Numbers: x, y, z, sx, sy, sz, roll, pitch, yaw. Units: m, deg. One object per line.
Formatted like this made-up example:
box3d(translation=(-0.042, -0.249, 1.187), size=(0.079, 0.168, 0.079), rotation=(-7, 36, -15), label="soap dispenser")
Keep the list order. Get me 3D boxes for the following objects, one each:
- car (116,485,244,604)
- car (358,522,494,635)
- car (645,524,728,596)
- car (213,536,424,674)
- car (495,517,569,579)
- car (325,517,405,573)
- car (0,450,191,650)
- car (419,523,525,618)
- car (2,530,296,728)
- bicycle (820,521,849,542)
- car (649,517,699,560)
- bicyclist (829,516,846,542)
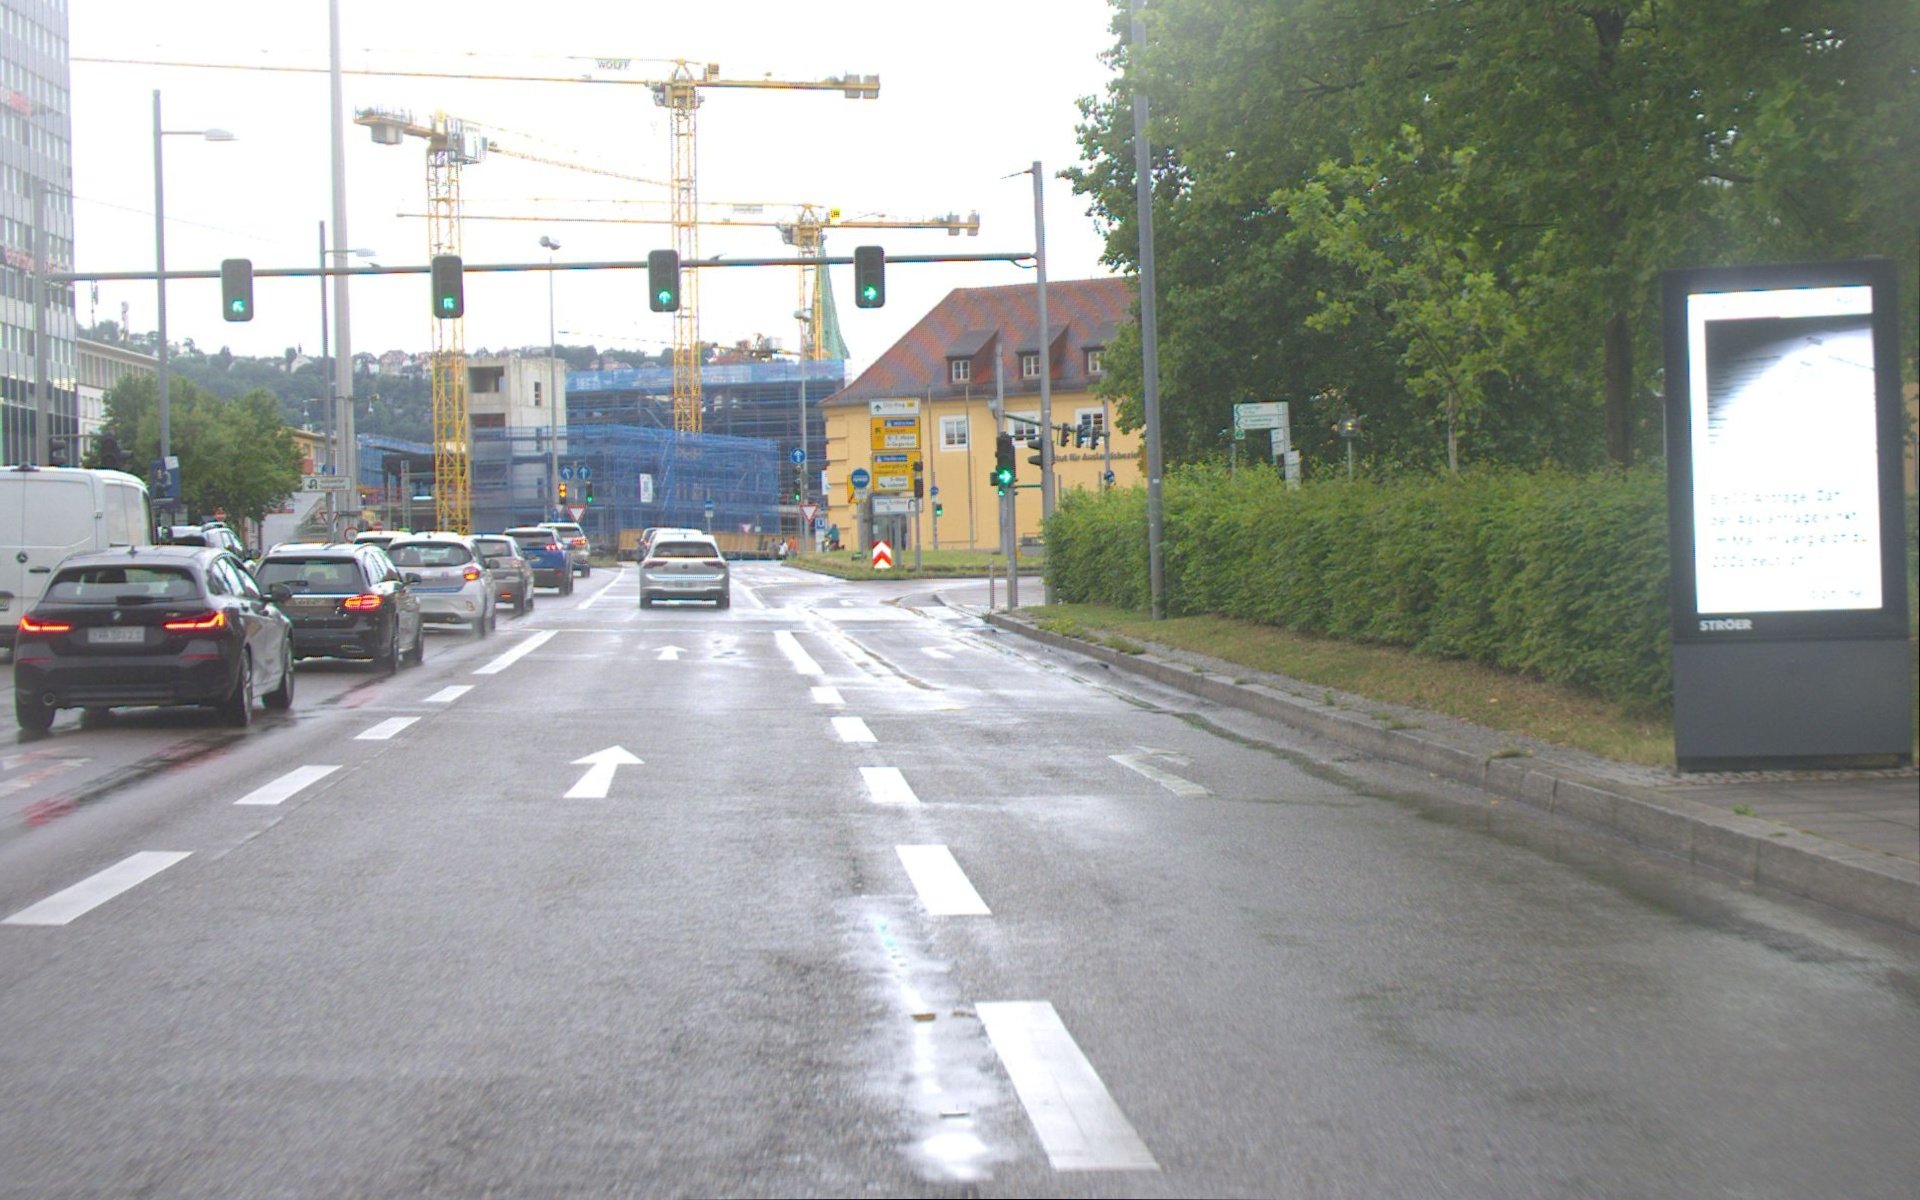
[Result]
box3d(translation=(-11.525, -0.792, 50.945), size=(1.464, 1.700, 3.142), rotation=(0, 0, -6), label="car")
box3d(translation=(-8.039, -0.312, 51.947), size=(1.880, 1.647, 3.458), rotation=(0, 0, -6), label="car")
box3d(translation=(-5.314, -0.768, 66.991), size=(1.444, 1.354, 2.412), rotation=(0, 0, -1), label="car")
box3d(translation=(-7.199, 0.059, 38.856), size=(1.829, 1.489, 3.399), rotation=(0, 0, -2), label="car")
box3d(translation=(-9.649, -1.160, 77.701), size=(1.493, 1.365, 3.034), rotation=(0, 0, -4), label="car")
box3d(translation=(-13.724, -1.265, 79.431), size=(1.551, 1.256, 2.581), rotation=(0, 0, -4), label="car")
box3d(translation=(-11.009, -0.569, 42.128), size=(2.292, 2.306, 5.006), rotation=(0, 0, -3), label="car")
box3d(translation=(-9.133, -0.536, 64.557), size=(1.716, 1.721, 3.495), rotation=(0, 0, -4), label="car")
box3d(translation=(-6.617, 0.177, 28.453), size=(1.753, 1.466, 4.223), rotation=(0, 2, -5), label="car")
box3d(translation=(-6.190, -3.360, 169.467), size=(0.880, 1.006, 1.993), rotation=(0, 0, -19), label="bicycle")
box3d(translation=(-7.021, -1.493, 84.358), size=(1.076, 0.987, 1.971), rotation=(0, -1, -1), label="car")
box3d(translation=(-6.024, -3.500, 169.243), size=(0.703, 1.271, 0.635), rotation=(0, 0, -19), label="bicyclist")
